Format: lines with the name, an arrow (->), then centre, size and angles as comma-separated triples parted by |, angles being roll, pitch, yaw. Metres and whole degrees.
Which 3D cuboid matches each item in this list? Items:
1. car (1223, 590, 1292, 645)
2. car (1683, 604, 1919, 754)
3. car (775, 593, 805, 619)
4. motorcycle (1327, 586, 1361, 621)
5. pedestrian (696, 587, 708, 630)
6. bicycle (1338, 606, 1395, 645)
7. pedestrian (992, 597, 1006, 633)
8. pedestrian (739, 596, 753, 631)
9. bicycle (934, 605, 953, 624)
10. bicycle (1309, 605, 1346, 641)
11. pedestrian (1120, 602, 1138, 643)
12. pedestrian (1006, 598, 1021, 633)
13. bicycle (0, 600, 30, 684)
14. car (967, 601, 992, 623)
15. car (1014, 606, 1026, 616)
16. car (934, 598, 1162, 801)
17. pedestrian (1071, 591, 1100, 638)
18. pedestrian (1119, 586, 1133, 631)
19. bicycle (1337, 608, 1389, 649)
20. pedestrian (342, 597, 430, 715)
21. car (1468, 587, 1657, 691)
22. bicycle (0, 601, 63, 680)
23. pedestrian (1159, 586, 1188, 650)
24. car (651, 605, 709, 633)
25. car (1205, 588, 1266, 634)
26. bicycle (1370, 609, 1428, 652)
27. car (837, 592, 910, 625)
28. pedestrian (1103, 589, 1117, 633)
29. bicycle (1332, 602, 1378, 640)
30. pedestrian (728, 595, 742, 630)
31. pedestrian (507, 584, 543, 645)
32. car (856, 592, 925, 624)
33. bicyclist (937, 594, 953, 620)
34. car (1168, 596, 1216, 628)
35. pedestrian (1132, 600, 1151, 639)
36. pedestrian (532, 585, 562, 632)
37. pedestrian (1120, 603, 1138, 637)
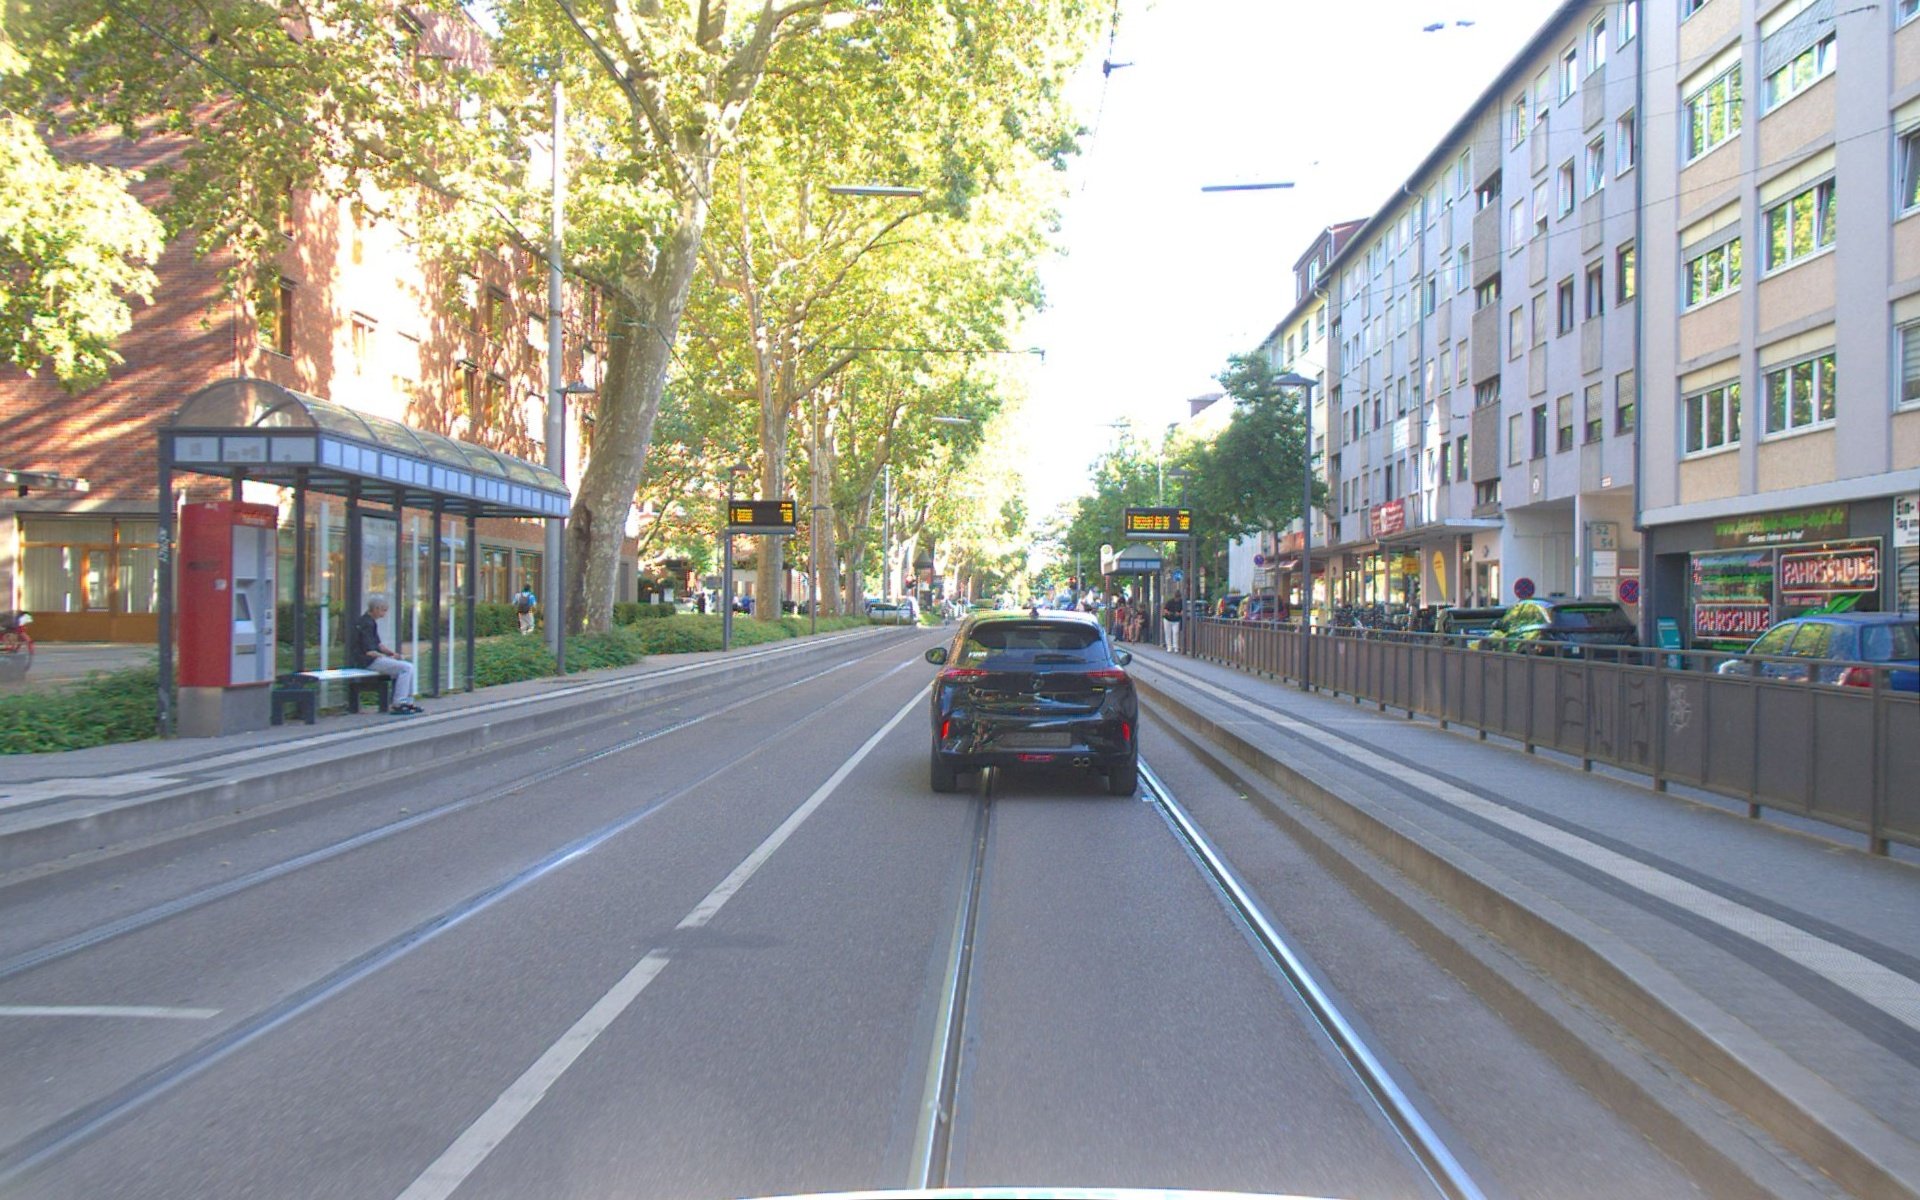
car -> 11.335, 0.684, 63.322 | 1.952, 1.986, 4.000 | 1, -1, 1
car -> 9.833, 0.820, 18.525 | 1.707, 1.465, 4.248 | 1, -1, 2
car -> -14.189, 0.524, 138.041 | 1.952, 2.049, 4.001 | 1, -1, 2
motorcycle -> 14.776, 0.132, 63.632 | 0.873, 1.302, 2.043 | 1, -1, 2
pedestrian -> -11.953, 0.401, 76.667 | 0.487, 1.984, 0.673 | 1, -1, -6
bicycle -> 12.325, 0.756, 50.260 | 0.600, 1.156, 2.915 | 1, -1, -9
pedestrian -> 2.313, 0.875, 96.941 | 0.661, 2.049, 0.702 | 2, 0, 8
pedestrian -> -12.264, 0.781, 94.636 | 0.658, 1.984, 0.498 | 2, 0, -2
bicycle -> -1.089, 0.962, 111.309 | 0.935, 1.262, 2.979 | 1, -1, 5
bicycle -> 12.276, 0.773, 55.268 | 0.585, 1.156, 2.202 | 1, -1, -4
pedestrian -> 5.617, 0.746, 54.998 | 0.492, 1.327, 0.428 | 1, -1, -2
pedestrian -> 3.117, 0.896, 96.872 | 0.661, 2.049, 0.702 | 2, 0, 13
bicycle -> -15.611, 0.587, 25.247 | 2.407, 1.240, 0.682 | 3, -1, 2
car -> 1.386, 0.871, 119.555 | 1.709, 1.571, 4.000 | 1, -1, 0
car -> 9.094, 1.703, 251.740 | 1.709, 1.571, 4.000 | 1, -1, 0
car -> 0.663, 0.768, 14.346 | 1.724, 1.534, 3.682 | 0, -1, 0
pedestrian -> 4.709, 0.550, 62.043 | 0.737, 1.739, 0.760 | 1, -1, 36
pedestrian -> 6.700, 0.335, 66.898 | 0.520, 1.793, 0.661 | 1, -1, 4
bicycle -> 11.902, 0.836, 48.897 | 0.591, 1.156, 2.429 | 1, -1, -9
pedestrian -> -5.954, 0.573, 17.184 | 0.691, 1.189, 0.659 | -1, -1, -1
car -> 10.449, 0.653, 29.034 | 1.818, 1.644, 4.398 | 1, -1, 2
bicycle -> -15.388, 0.609, 25.903 | 2.292, 1.186, 0.682 | 2, -1, 2
pedestrian -> 5.544, 0.459, 42.978 | 0.617, 1.603, 0.871 | 3, 0, 2
car -> -21.995, 1.512, 129.990 | 4.162, 2.049, 2.000 | 1, -1, 2
car -> 11.607, 0.472, 69.820 | 1.952, 1.829, 4.000 | 1, -1, 1
bicycle -> 12.301, 0.845, 46.420 | 0.610, 1.156, 2.434 | 1, -1, -9
car -> -4.918, 0.487, 93.456 | 4.034, 1.731, 1.881 | 1, -1, -5
pedestrian -> 5.998, 0.447, 66.056 | 0.520, 1.739, 0.752 | 1, -1, 4
bicycle -> 12.582, 0.664, 52.743 | 0.586, 1.156, 2.199 | 1, -1, -9
pedestrian -> -12.989, 0.744, 95.452 | 0.658, 1.984, 0.498 | 2, 0, -2
pedestrian -> -12.353, 0.426, 47.018 | 0.720, 1.701, 0.861 | 1, -1, 2
car -> -4.436, 0.528, 105.007 | 4.299, 1.884, 1.998 | 1, -1, -5
bicyclist -> -0.997, 0.492, 112.224 | 0.921, 1.733, 1.153 | 1, -1, 5
car -> 11.491, 0.616, 82.078 | 1.952, 1.512, 4.001 | 1, -1, 2
pedestrian -> 5.888, 0.629, 53.648 | 0.523, 1.252, 0.510 | 1, -1, -2
pedestrian -> -14.425, 0.298, 57.797 | 0.758, 1.633, 0.946 | 1, -1, 2
pedestrian -> 5.544, 0.660, 54.279 | 0.523, 1.119, 0.550 | 1, -1, -2
